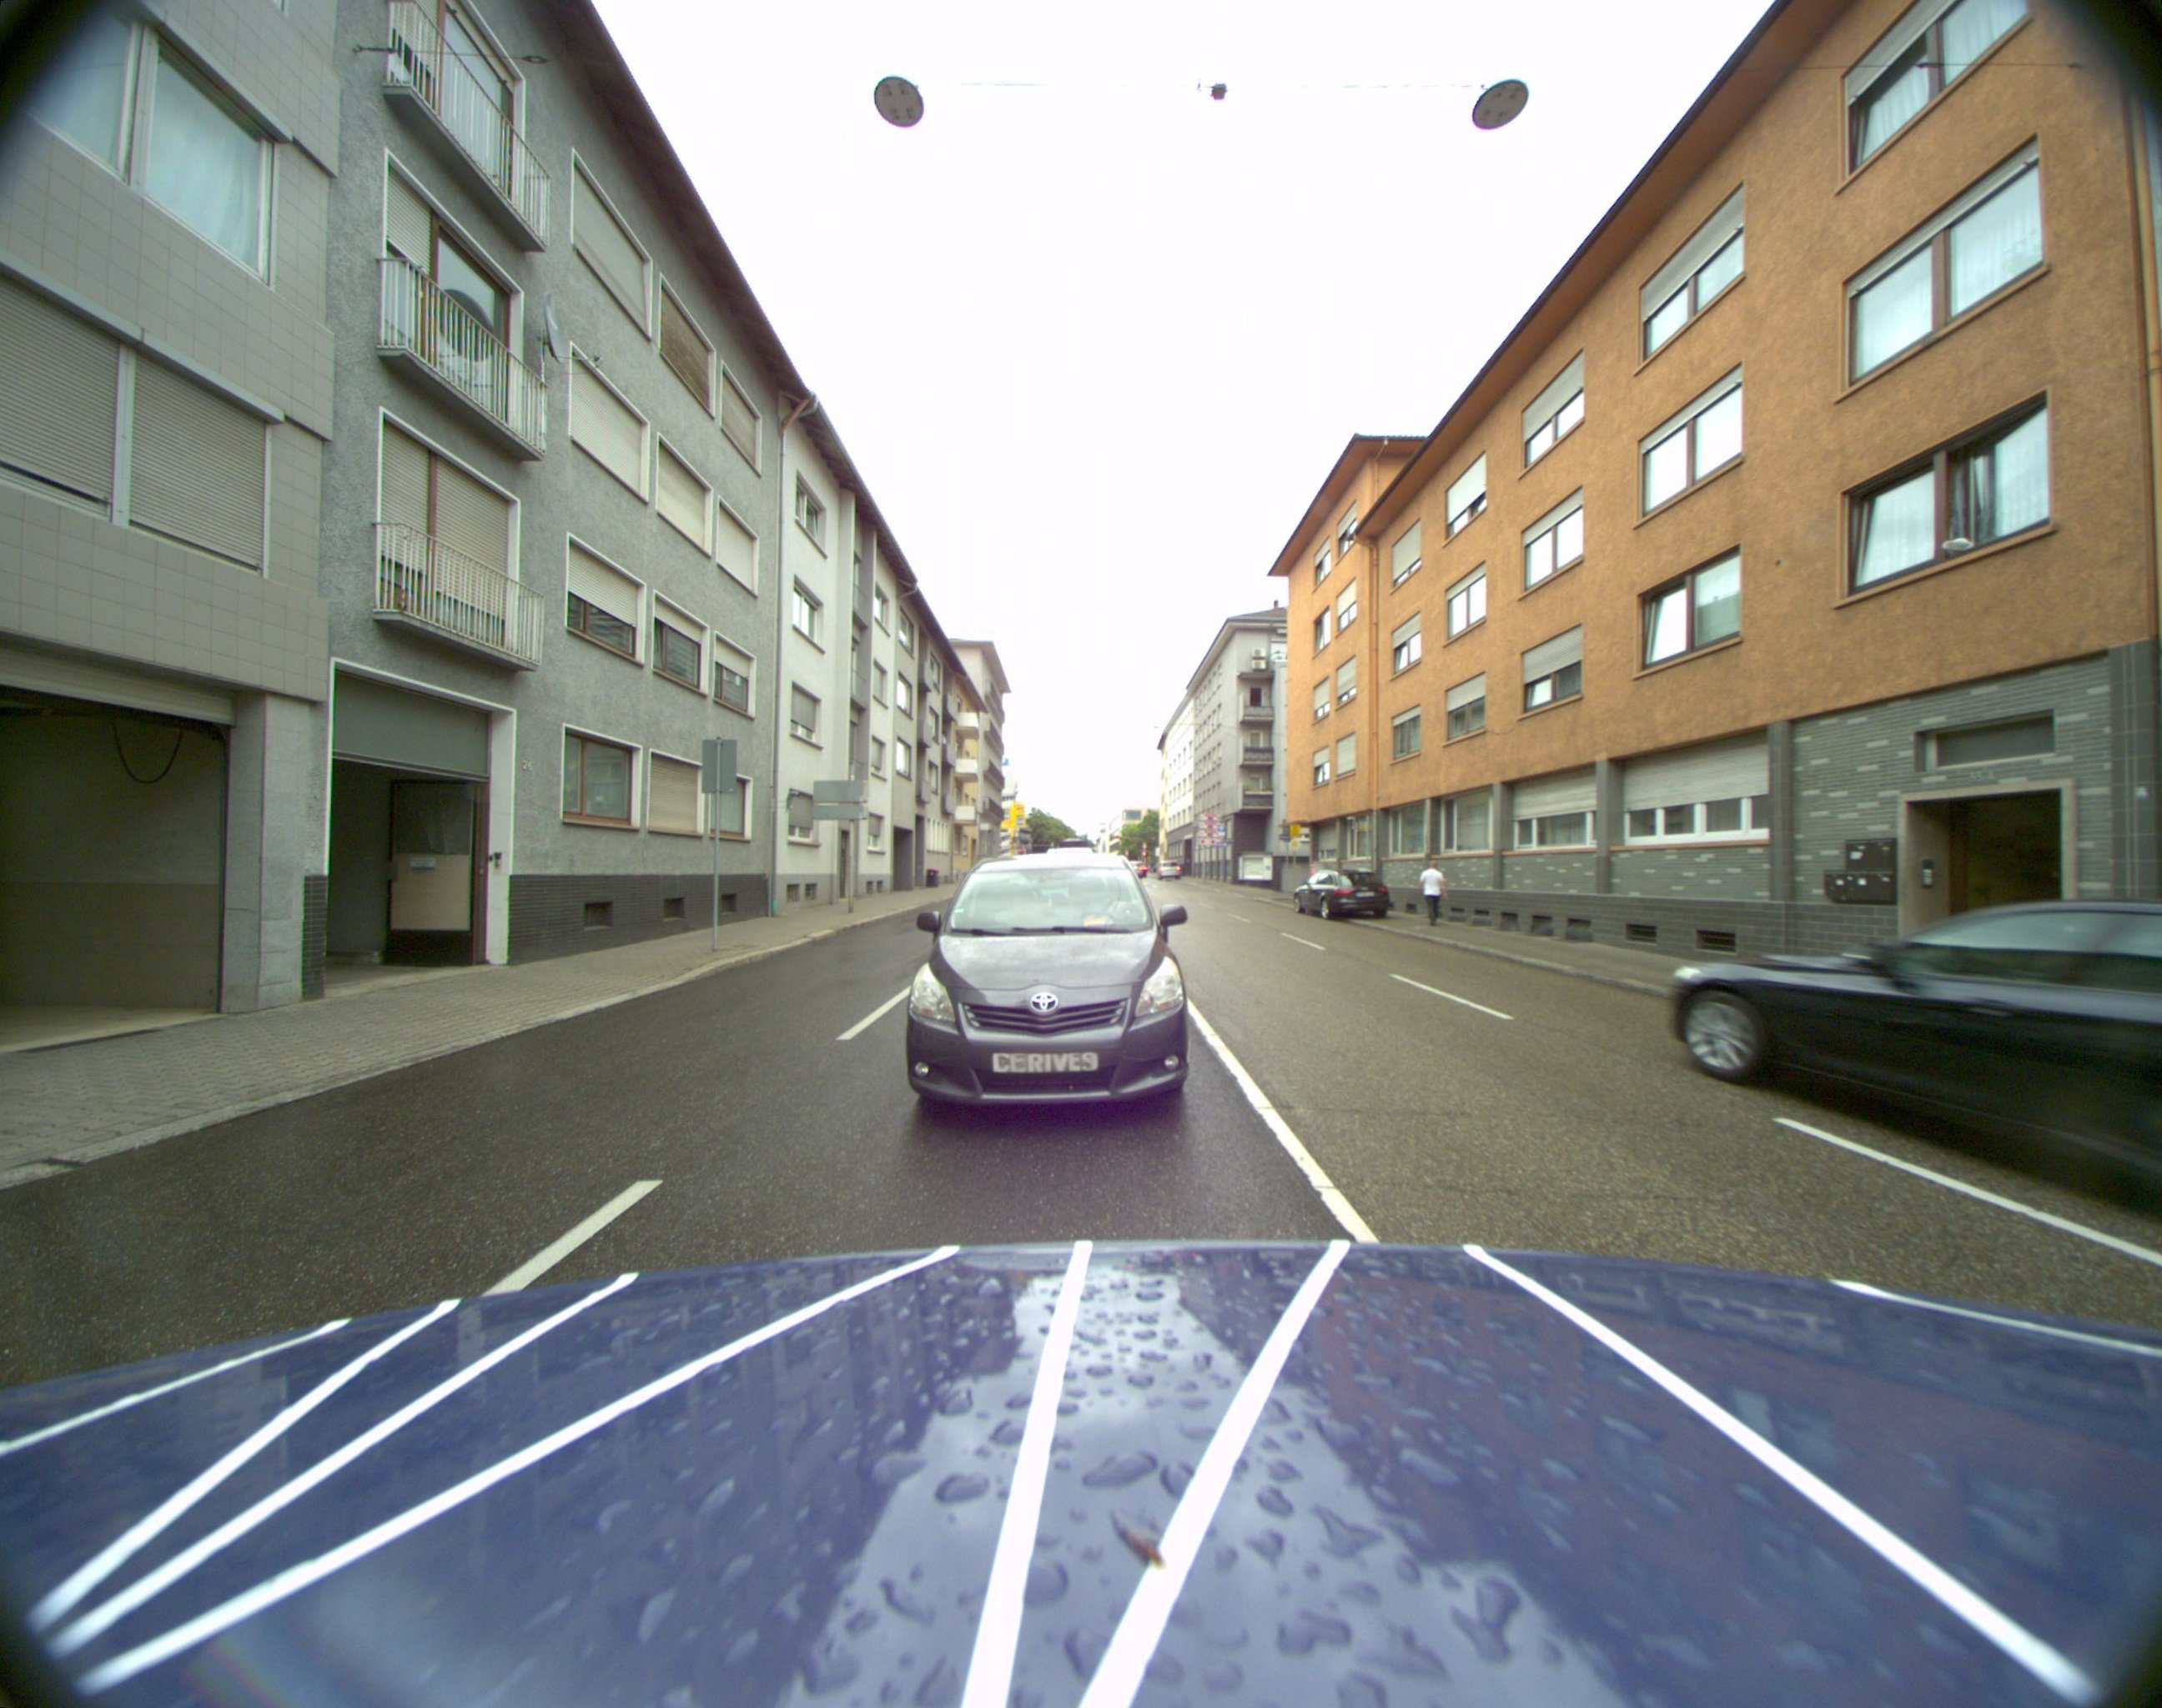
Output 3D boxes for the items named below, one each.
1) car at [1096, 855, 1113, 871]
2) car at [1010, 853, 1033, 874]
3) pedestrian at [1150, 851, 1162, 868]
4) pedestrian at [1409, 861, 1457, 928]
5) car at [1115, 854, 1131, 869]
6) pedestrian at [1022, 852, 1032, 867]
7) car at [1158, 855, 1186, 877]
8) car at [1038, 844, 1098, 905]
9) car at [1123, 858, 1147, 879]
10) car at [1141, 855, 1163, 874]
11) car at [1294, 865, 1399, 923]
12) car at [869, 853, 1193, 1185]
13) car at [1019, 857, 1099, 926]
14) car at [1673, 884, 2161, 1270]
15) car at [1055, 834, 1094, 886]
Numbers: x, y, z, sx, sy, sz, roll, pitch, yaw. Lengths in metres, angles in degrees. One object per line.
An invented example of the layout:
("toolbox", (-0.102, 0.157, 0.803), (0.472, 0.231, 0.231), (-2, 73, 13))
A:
("car", (2.854, 1.062, 92.787), (1.856, 1.712, 4.217), (-2, 1, 1))
("car", (-5.120, 0.792, 65.887), (1.856, 1.663, 4.215), (-2, 1, -4))
("pedestrian", (9.272, 0.640, 93.682), (1.309, 2.002, 1.258), (-2, 1, 1))
("pedestrian", (9.000, 1.016, 19.460), (0.768, 1.630, 1.023), (-2, 1, 5))
("car", (5.363, 0.912, 97.365), (1.856, 1.712, 4.217), (-2, 1, 1))
("pedestrian", (-6.421, 0.681, 89.774), (1.119, 1.741, 0.961), (1, 1, -5))
("car", (7.826, 0.989, 65.753), (1.856, 1.712, 4.217), (-2, 1, 1))
("car", (-0.386, 0.639, 26.602), (1.856, 1.882, 4.217), (-2, 1, 1))
("car", (4.749, 1.263, 67.208), (1.856, 1.651, 4.610), (-2, 1, 1))
("car", (7.267, 1.060, 77.677), (1.856, 1.712, 4.217), (-2, 1, 1))
("car", (8.054, 1.146, 23.461), (1.799, 1.466, 4.217), (-2, 1, 1))
("car", (-0.242, 0.906, 6.253), (1.699, 1.712, 4.217), (-2, 1, 1))
("car", (-0.495, 0.896, 20.097), (1.856, 1.524, 3.792), (-2, 1, 1))
("car", (5.564, 1.087, 3.738), (1.699, 1.530, 4.435), (4, 1, 0))
("car", (-0.321, 0.299, 43.645), (2.033, 2.731, 4.368), (-2, 1, 1))
